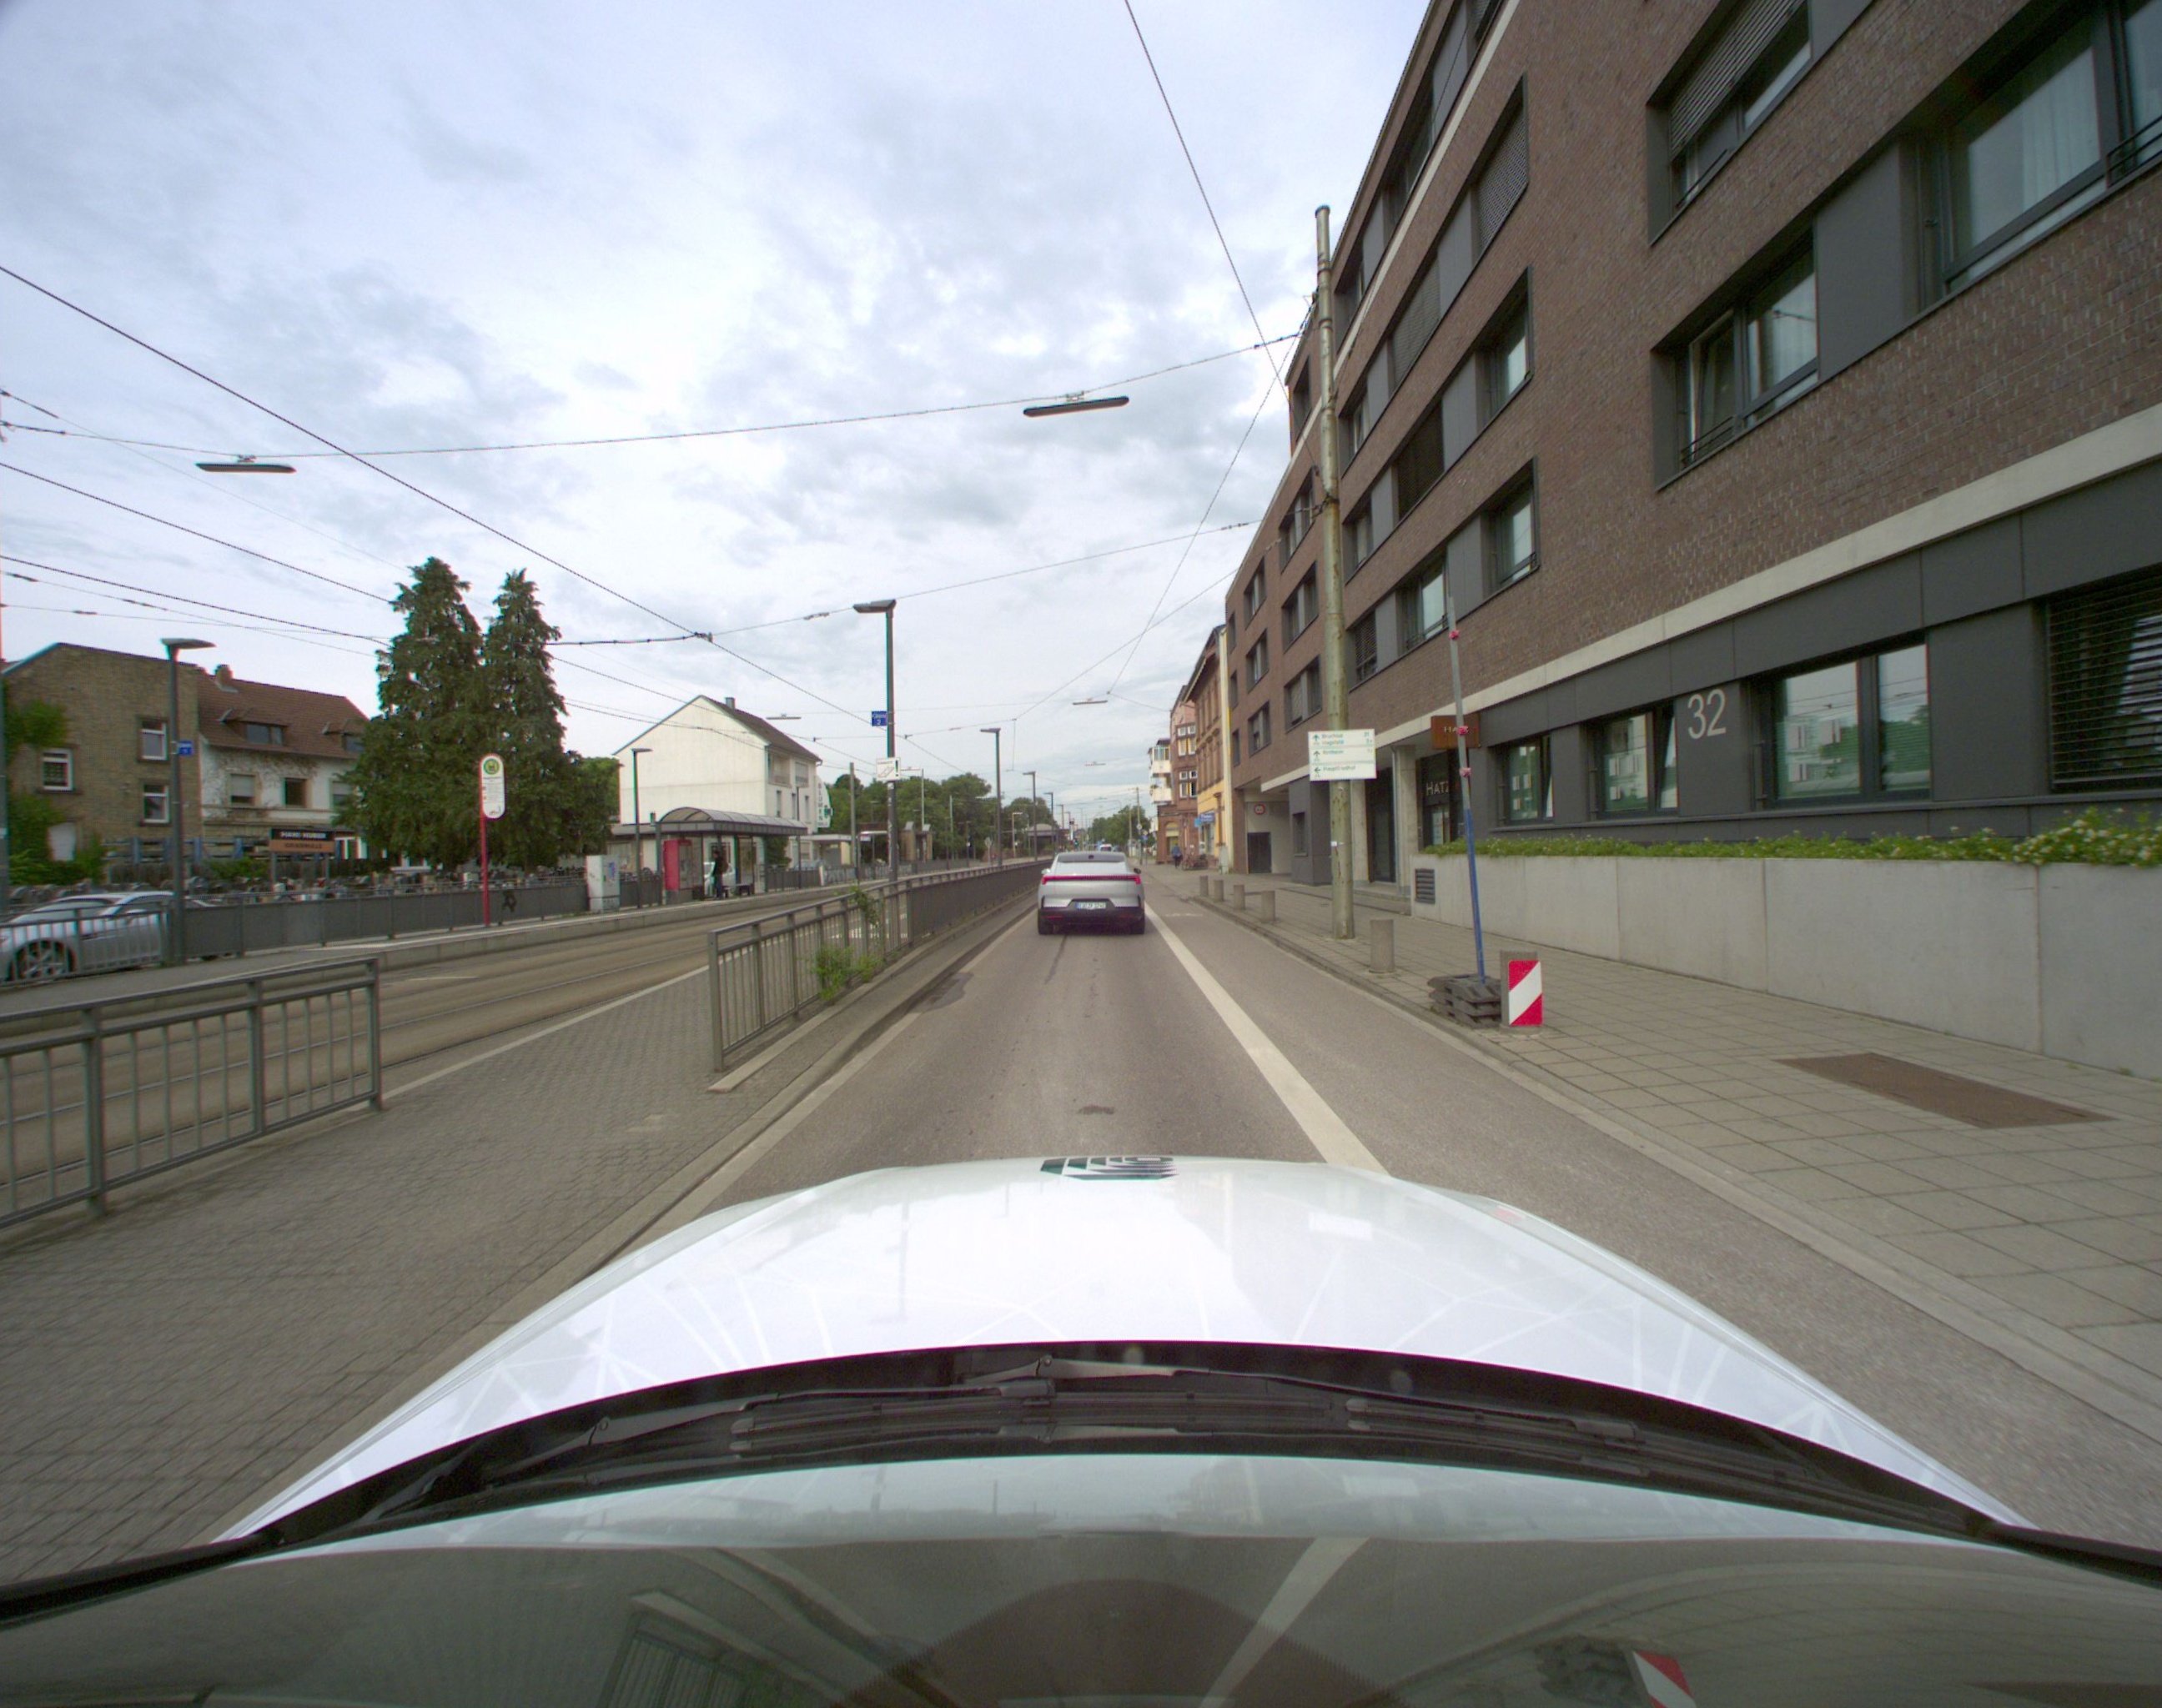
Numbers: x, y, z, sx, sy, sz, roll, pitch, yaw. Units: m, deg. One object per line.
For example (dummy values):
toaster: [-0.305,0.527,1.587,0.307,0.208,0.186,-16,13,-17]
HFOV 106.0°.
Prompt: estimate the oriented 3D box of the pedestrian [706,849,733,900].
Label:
pedestrian: [-12.061,0.671,27.189,0.700,1.664,0.610,-1,-1,-37]

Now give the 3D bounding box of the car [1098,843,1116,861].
car: [3.654,-0.301,114.734,2.220,2.402,5.119,-1,0,-2]

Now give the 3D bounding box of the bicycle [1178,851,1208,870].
bicycle: [7.268,0.406,52.959,1.771,1.129,0.642,-4,0,0]

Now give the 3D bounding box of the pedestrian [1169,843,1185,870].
pedestrian: [6.776,0.150,57.570,0.955,1.850,0.978,-4,1,7]

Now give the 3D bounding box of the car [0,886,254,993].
car: [-15.300,1.241,12.264,1.745,1.299,3.832,-3,0,-1]

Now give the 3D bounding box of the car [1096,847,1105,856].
car: [4.303,-0.611,182.575,1.986,2.013,4.001,-2,0,1]

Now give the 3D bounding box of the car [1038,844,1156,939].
car: [0.178,0.655,15.866,1.995,1.581,3.996,-1,-1,-3]

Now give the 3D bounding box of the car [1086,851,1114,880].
car: [1.233,0.703,51.309,1.674,1.687,3.825,-1,0,2]

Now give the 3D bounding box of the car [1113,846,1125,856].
car: [9.901,-0.890,212.519,2.797,2.505,5.724,-1,0,2]

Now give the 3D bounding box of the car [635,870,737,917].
car: [-15.535,1.503,32.272,1.857,1.486,4.002,-4,0,2]
